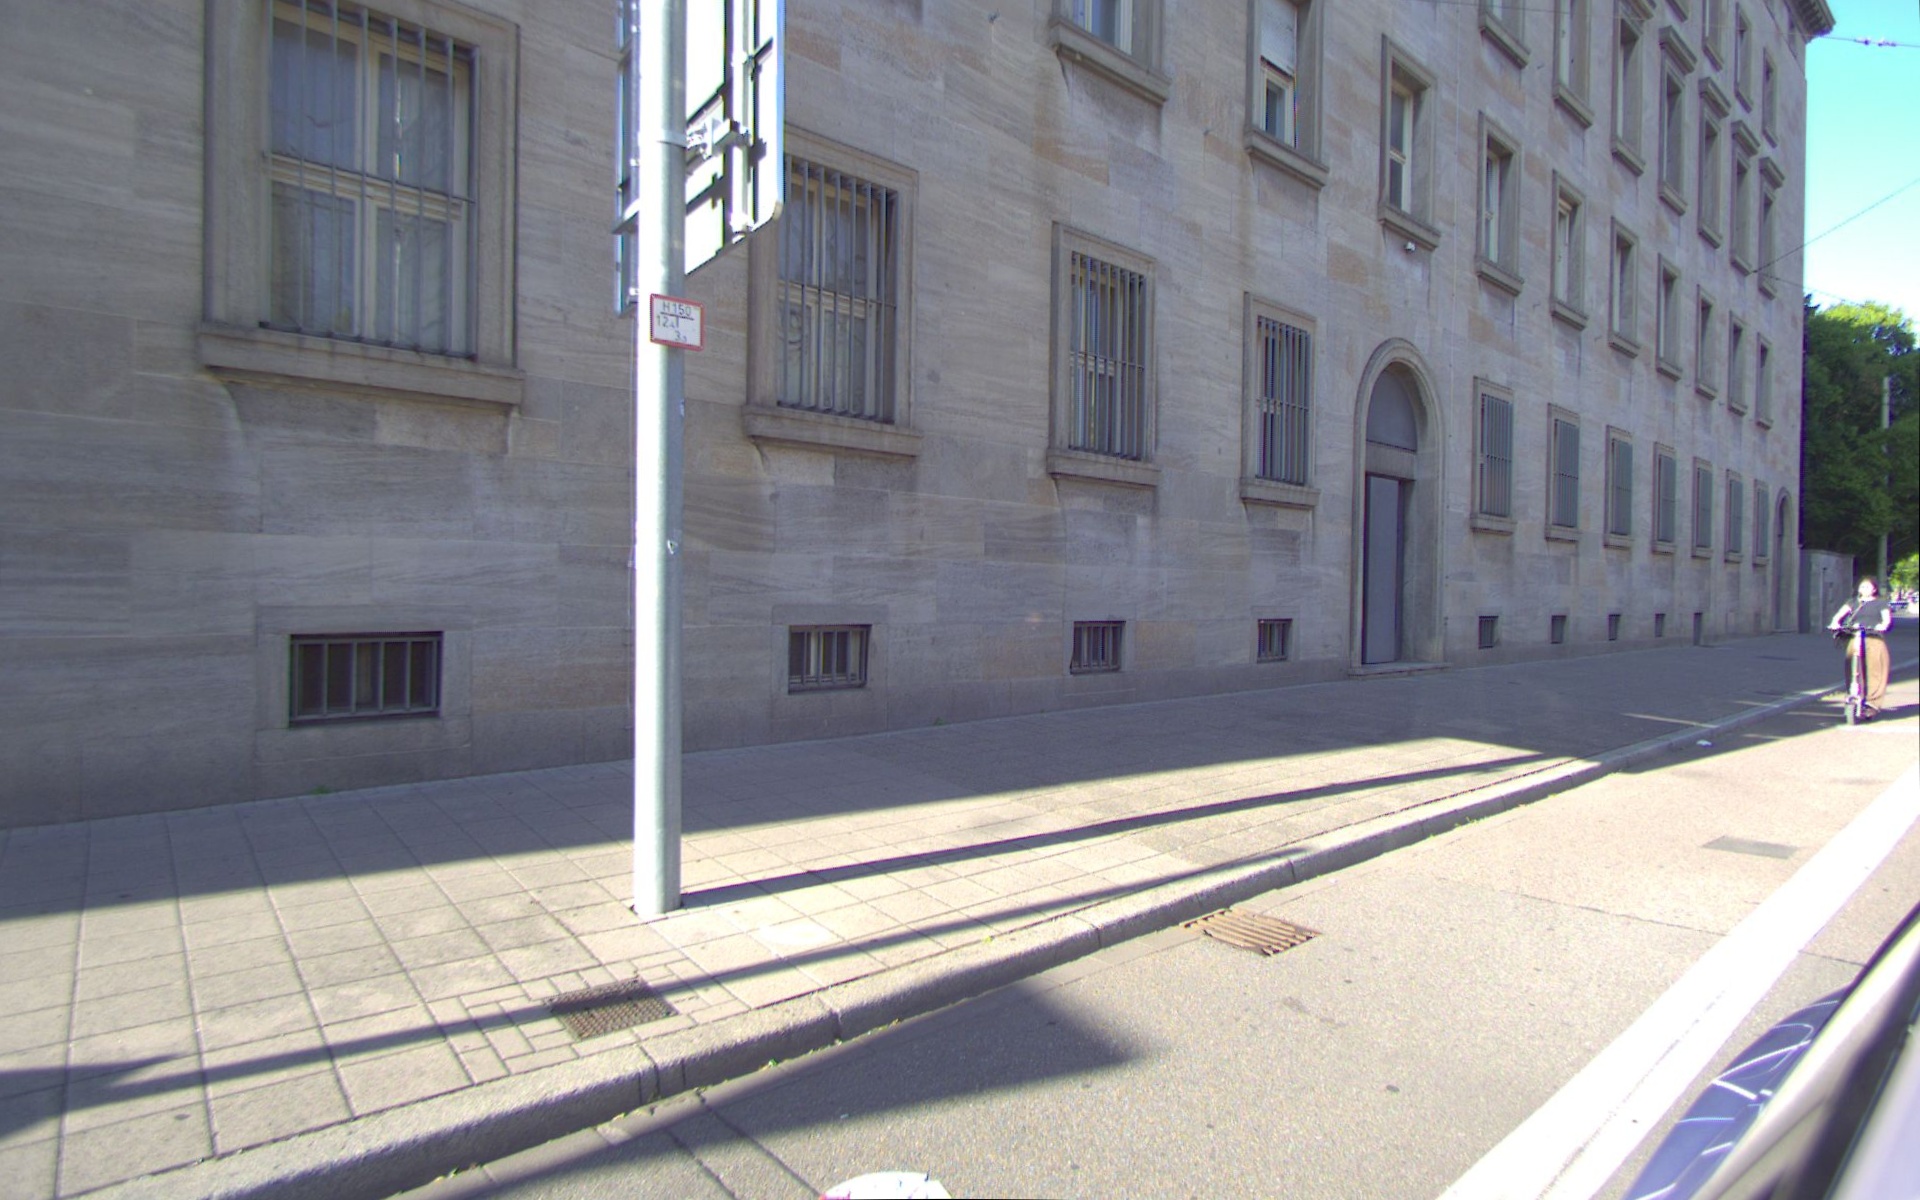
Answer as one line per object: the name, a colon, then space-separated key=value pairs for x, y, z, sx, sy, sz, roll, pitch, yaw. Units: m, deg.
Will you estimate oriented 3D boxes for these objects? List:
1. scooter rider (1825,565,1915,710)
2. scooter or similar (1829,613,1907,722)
scooter rider: x=10.954 y=0.425 z=12.189 sx=0.547 sy=1.692 sz=0.730 roll=0 pitch=1 yaw=-42
scooter or similar: x=10.932 y=0.779 z=12.176 sx=1.305 sy=1.200 sz=0.535 roll=0 pitch=1 yaw=-42
